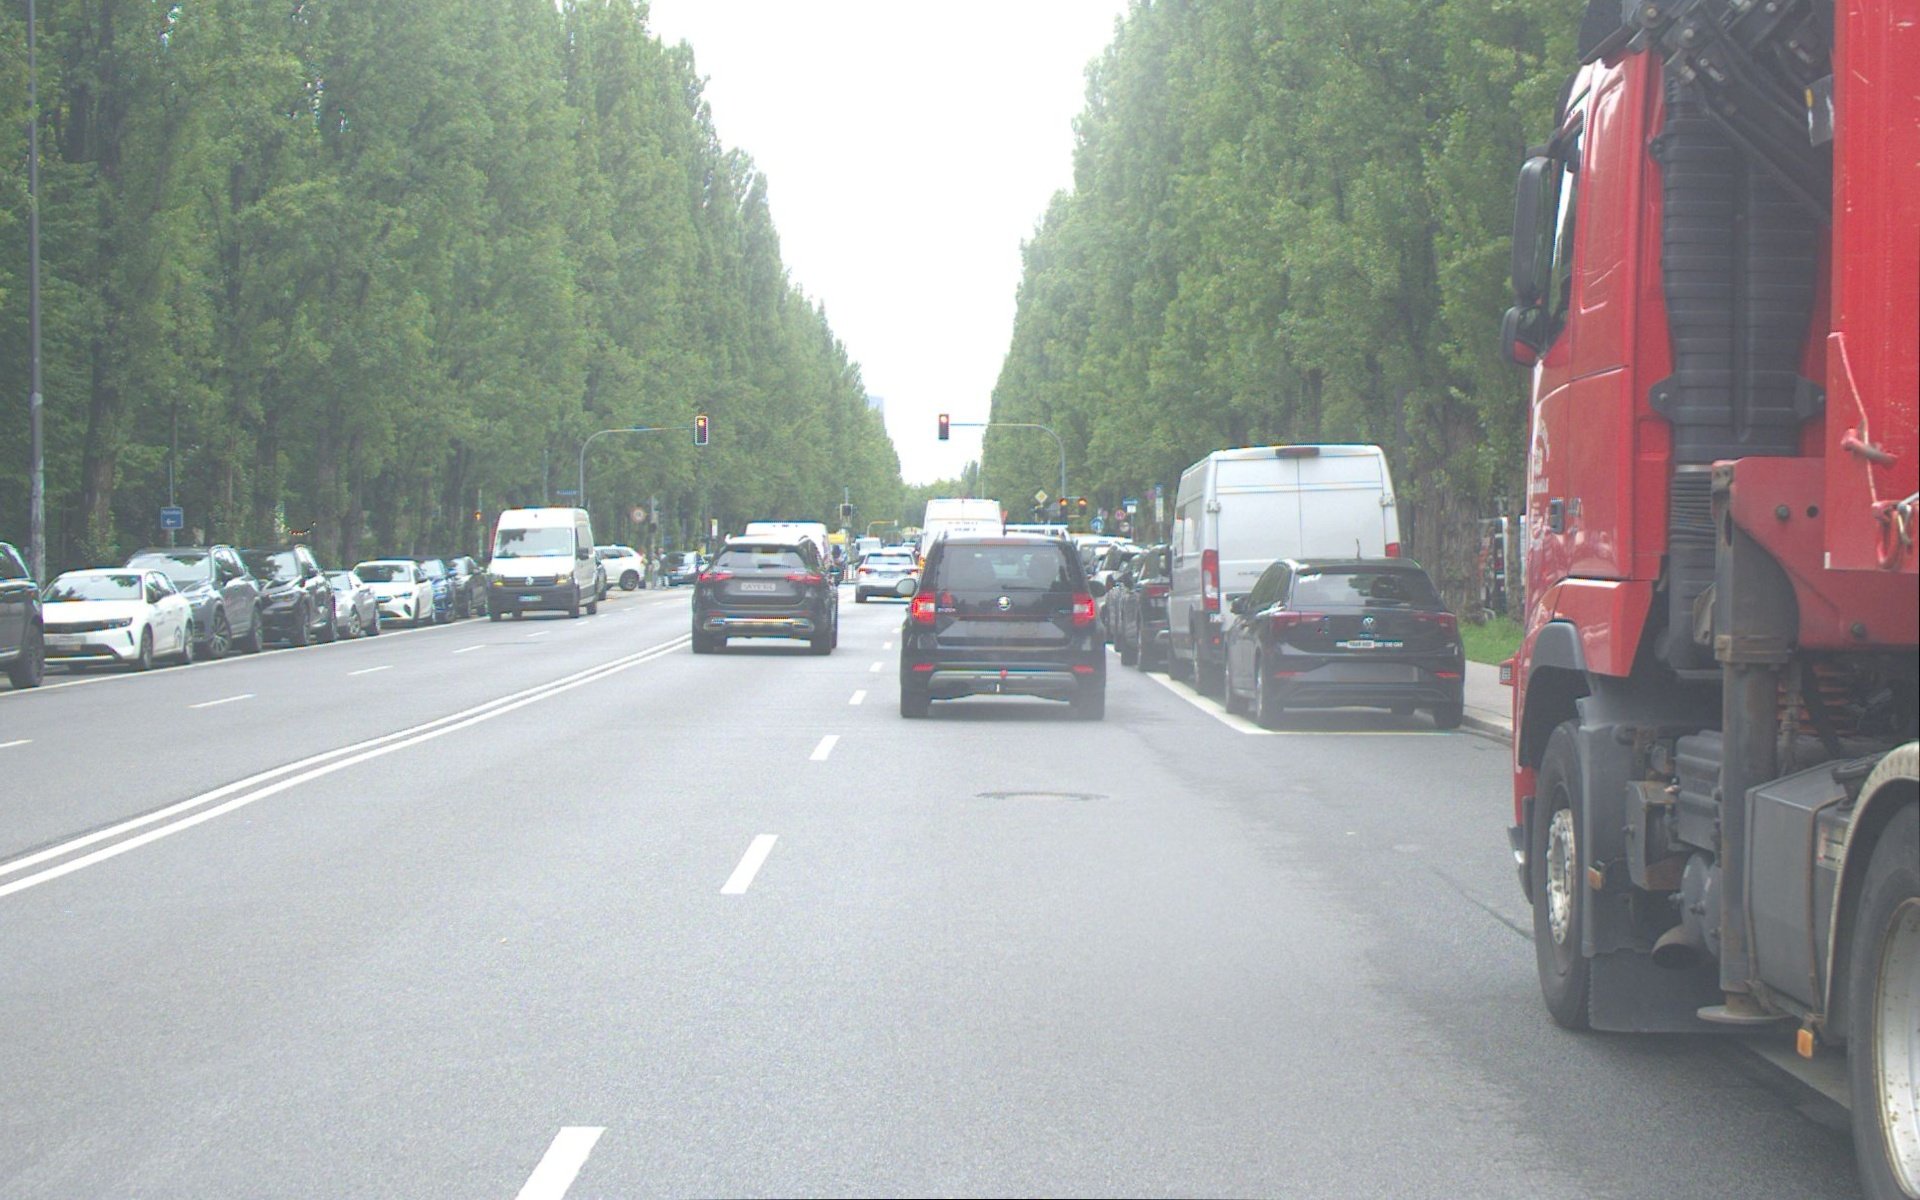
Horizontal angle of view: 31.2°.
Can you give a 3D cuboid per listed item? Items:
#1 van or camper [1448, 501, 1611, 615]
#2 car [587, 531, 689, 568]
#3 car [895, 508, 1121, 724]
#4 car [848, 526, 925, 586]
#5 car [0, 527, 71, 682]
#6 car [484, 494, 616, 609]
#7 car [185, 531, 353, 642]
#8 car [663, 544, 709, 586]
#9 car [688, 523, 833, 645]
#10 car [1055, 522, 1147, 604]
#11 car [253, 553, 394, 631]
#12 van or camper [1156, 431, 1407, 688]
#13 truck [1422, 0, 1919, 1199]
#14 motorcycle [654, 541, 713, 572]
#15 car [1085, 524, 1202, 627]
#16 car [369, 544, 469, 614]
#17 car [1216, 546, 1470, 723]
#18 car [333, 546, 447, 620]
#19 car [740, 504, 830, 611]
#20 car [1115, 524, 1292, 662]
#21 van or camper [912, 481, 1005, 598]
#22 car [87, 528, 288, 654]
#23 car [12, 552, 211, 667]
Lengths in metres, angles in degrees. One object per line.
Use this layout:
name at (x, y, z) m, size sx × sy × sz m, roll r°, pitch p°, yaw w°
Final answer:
van or camper at (10.151, -0.781, 61.638) m, size 2.076 × 1.927 × 5.368 m, roll 1°, pitch 1°, yaw 1°
car at (-12.237, -1.926, 130.870) m, size 1.711 × 1.361 × 3.813 m, roll 0°, pitch 2°, yaw 39°
car at (0.421, 0.097, 30.972) m, size 1.855 × 1.764 × 4.000 m, roll 2°, pitch 1°, yaw 0°
car at (-1.952, -1.182, 91.655) m, size 1.993 × 1.555 × 4.000 m, roll -1°, pitch 1°, yaw -1°
car at (-12.020, 0.089, 39.798) m, size 2.046 × 1.780 × 4.800 m, roll -3°, pitch 1°, yaw 1°
car at (-9.447, -1.144, 79.793) m, size 2.228 × 2.475 × 6.759 m, roll -2°, pitch 1°, yaw -1°
car at (-11.938, -0.276, 59.709) m, size 1.940 × 1.761 × 4.896 m, roll -3°, pitch 1°, yaw -1°
car at (-12.016, -1.555, 151.011) m, size 1.688 × 1.776 × 3.775 m, roll 0°, pitch 1°, yaw 0°
car at (-2.776, -0.263, 48.501) m, size 1.781 × 1.614 × 4.025 m, roll 0°, pitch 1°, yaw 0°
car at (3.289, -0.900, 80.953) m, size 1.851 × 1.875 × 4.169 m, roll 0°, pitch 1°, yaw -2°
car at (-12.037, -0.178, 65.242) m, size 1.826 × 1.329 × 4.234 m, roll -3°, pitch 1°, yaw 0°
van or camper at (3.357, -0.459, 37.167) m, size 2.139 × 2.531 × 6.417 m, roll 0°, pitch 1°, yaw 0°
truck at (3.100, -0.470, 6.828) m, size 2.845 × 3.552 × 10.280 m, roll 0°, pitch 1°, yaw -1°
motorcycle at (-11.426, -1.787, 142.303) m, size 2.363 × 1.265 × 0.930 m, roll 0°, pitch 1°, yaw 1°
car at (3.092, -0.455, 58.689) m, size 1.743 × 1.670 × 4.580 m, roll 0°, pitch 1°, yaw 0°
car at (-12.307, -0.497, 78.333) m, size 1.709 × 1.446 × 3.586 m, roll -3°, pitch 1°, yaw -1°
car at (3.264, 0.247, 29.980) m, size 1.676 × 1.415 × 4.000 m, roll 0°, pitch 1°, yaw -1°
car at (-12.232, -0.391, 74.007) m, size 1.770 × 1.447 × 4.234 m, roll -3°, pitch 1°, yaw -1°
car at (-3.667, -0.865, 72.178) m, size 1.781 × 2.104 × 4.025 m, roll 2°, pitch -1°, yaw -3°
car at (3.034, -0.129, 43.618) m, size 1.784 × 1.643 × 4.418 m, roll 0°, pitch 1°, yaw -2°
van or camper at (-0.053, -1.373, 77.279) m, size 1.975 × 2.539 × 4.025 m, roll -1°, pitch 1°, yaw -1°
car at (-12.026, -0.184, 53.841) m, size 1.909 × 1.783 × 5.180 m, roll -3°, pitch 1°, yaw 0°
car at (-11.886, 0.097, 48.407) m, size 1.704 × 1.454 × 4.273 m, roll -3°, pitch 1°, yaw 0°
